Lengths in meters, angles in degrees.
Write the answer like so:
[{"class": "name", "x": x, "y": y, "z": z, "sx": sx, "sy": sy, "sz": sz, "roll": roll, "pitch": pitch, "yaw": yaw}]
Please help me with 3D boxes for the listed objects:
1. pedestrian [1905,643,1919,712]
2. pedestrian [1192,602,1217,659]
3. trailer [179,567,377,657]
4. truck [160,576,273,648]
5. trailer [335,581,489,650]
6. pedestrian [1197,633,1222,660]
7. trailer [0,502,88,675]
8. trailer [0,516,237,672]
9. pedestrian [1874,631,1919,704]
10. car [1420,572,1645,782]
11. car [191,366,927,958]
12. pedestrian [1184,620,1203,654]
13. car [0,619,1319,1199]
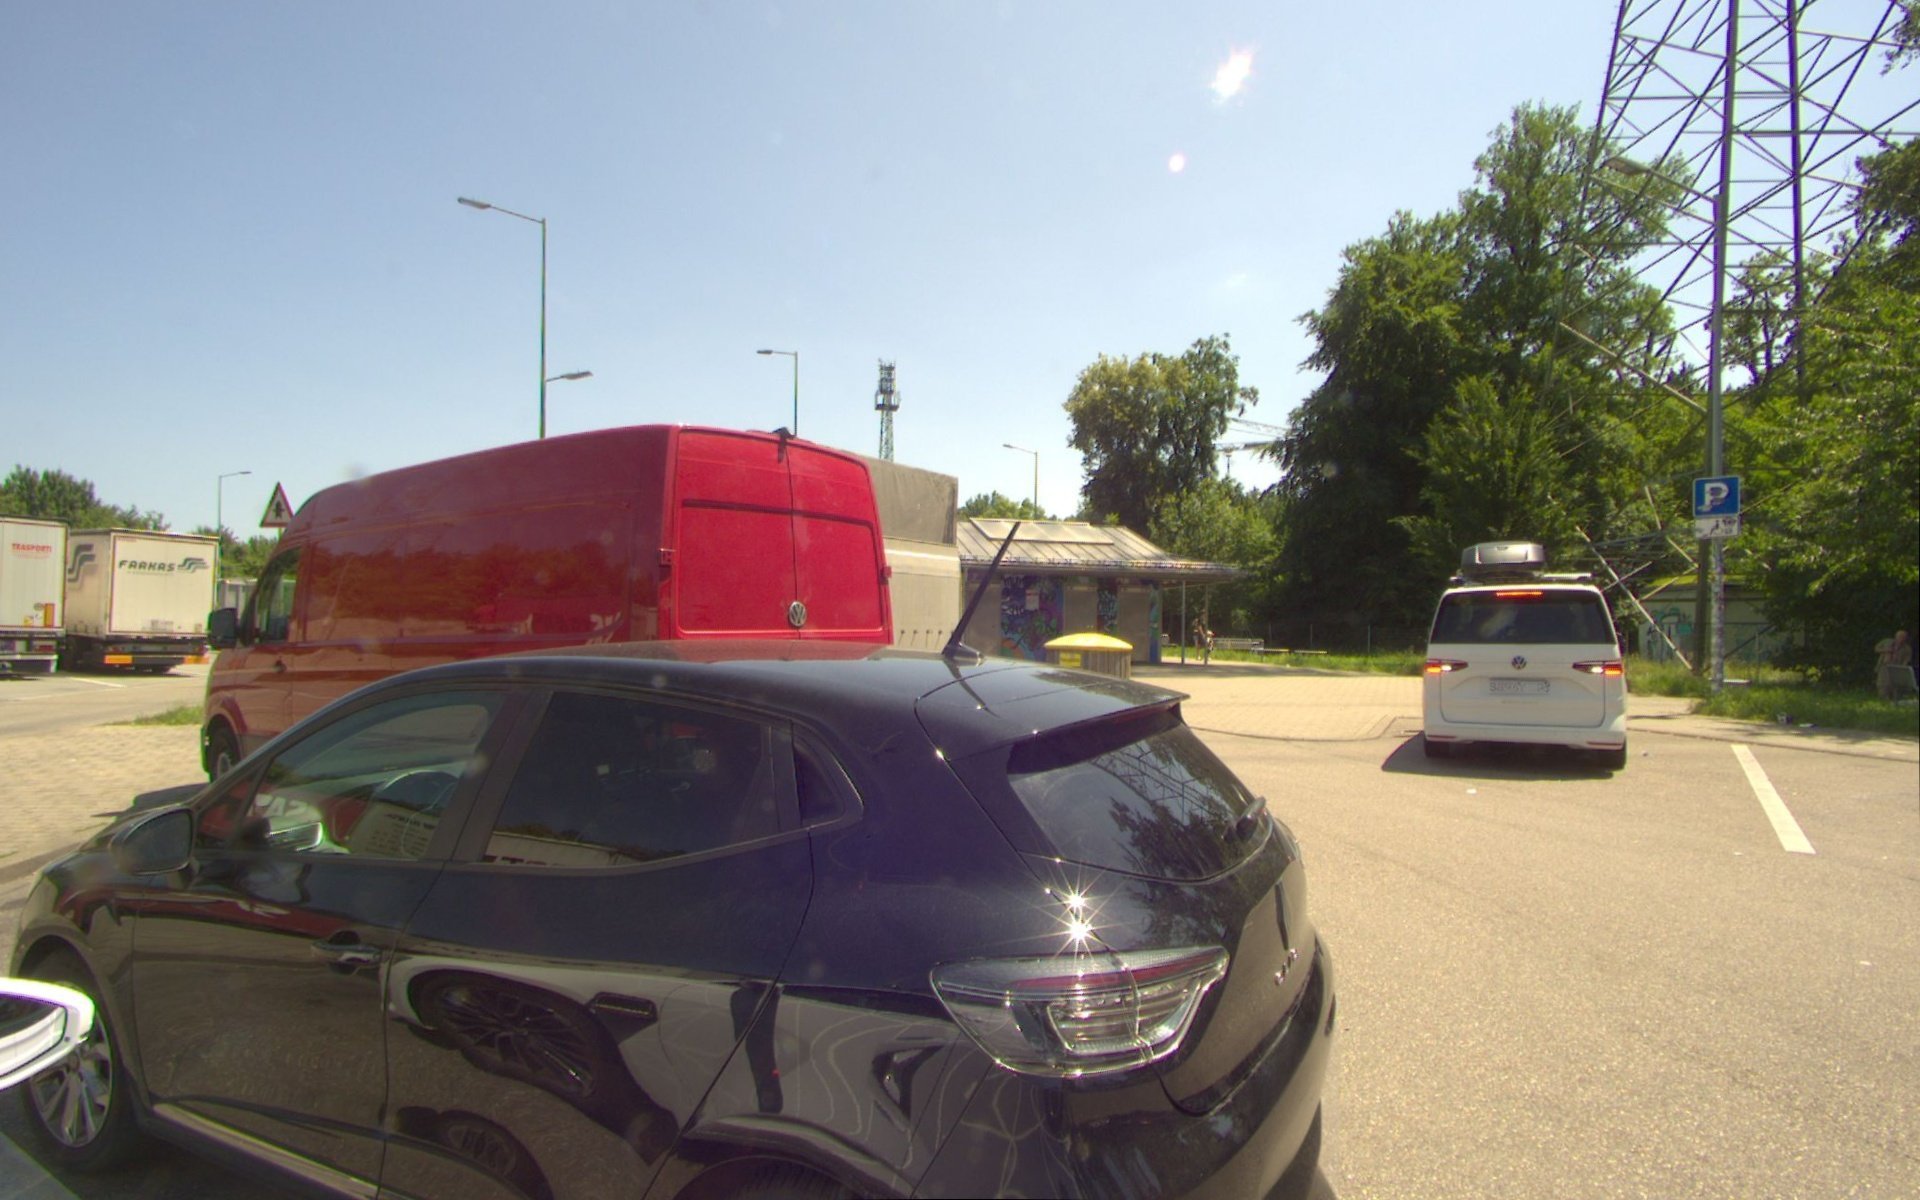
[{"class": "pedestrian", "x": 17.200, "y": 1.359, "z": 17.479, "sx": 0.876, "sy": 1.192, "sz": 0.666, "roll": -1, "pitch": -2, "yaw": 32}, {"class": "pedestrian", "x": 8.966, "y": 1.130, "z": 36.718, "sx": 0.763, "sy": 2.067, "sz": 0.646, "roll": 0, "pitch": -1, "yaw": 1}, {"class": "trailer", "x": -32.373, "y": 0.494, "z": 47.147, "sx": 13.530, "sy": 3.764, "sz": 2.834, "roll": 1, "pitch": -2, "yaw": 34}, {"class": "truck", "x": -37.682, "y": 0.579, "z": 50.747, "sx": 5.405, "sy": 3.407, "sz": 2.847, "roll": 1, "pitch": -2, "yaw": 34}, {"class": "trailer", "x": -36.035, "y": 0.928, "z": 65.440, "sx": 13.530, "sy": 4.101, "sz": 2.834, "roll": 1, "pitch": -2, "yaw": 34}, {"class": "pedestrian", "x": 8.881, "y": 1.662, "z": 35.665, "sx": 0.763, "sy": 0.960, "sz": 0.646, "roll": 0, "pitch": -1, "yaw": 1}, {"class": "trailer", "x": -28.958, "y": -0.363, "z": 28.155, "sx": 13.523, "sy": 4.185, "sz": 2.835, "roll": 1, "pitch": -2, "yaw": 33}, {"class": "trailer", "x": -27.649, "y": -0.184, "z": 31.636, "sx": 13.523, "sy": 4.185, "sz": 2.835, "roll": 1, "pitch": -2, "yaw": 33}, {"class": "pedestrian", "x": 18.603, "y": 1.325, "z": 19.792, "sx": 0.660, "sy": 1.422, "sz": 0.647, "roll": -1, "pitch": -1, "yaw": 33}, {"class": "car", "x": 6.458, "y": 0.770, "z": 11.714, "sx": 1.881, "sy": 1.937, "sz": 4.549, "roll": -1, "pitch": -1, "yaw": 26}, {"class": "car", "x": -3.345, "y": 0.313, "z": 7.362, "sx": 6.310, "sy": 2.731, "sz": 2.060, "roll": 0, "pitch": -1, "yaw": 37}, {"class": "pedestrian", "x": 10.645, "y": 1.668, "z": 45.620, "sx": 0.634, "sy": 1.547, "sz": 0.565, "roll": 0, "pitch": -1, "yaw": -11}, {"class": "car", "x": -1.053, "y": 0.837, "z": 2.910, "sx": 3.757, "sy": 1.501, "sz": 1.736, "roll": 0, "pitch": -1, "yaw": 27}]
